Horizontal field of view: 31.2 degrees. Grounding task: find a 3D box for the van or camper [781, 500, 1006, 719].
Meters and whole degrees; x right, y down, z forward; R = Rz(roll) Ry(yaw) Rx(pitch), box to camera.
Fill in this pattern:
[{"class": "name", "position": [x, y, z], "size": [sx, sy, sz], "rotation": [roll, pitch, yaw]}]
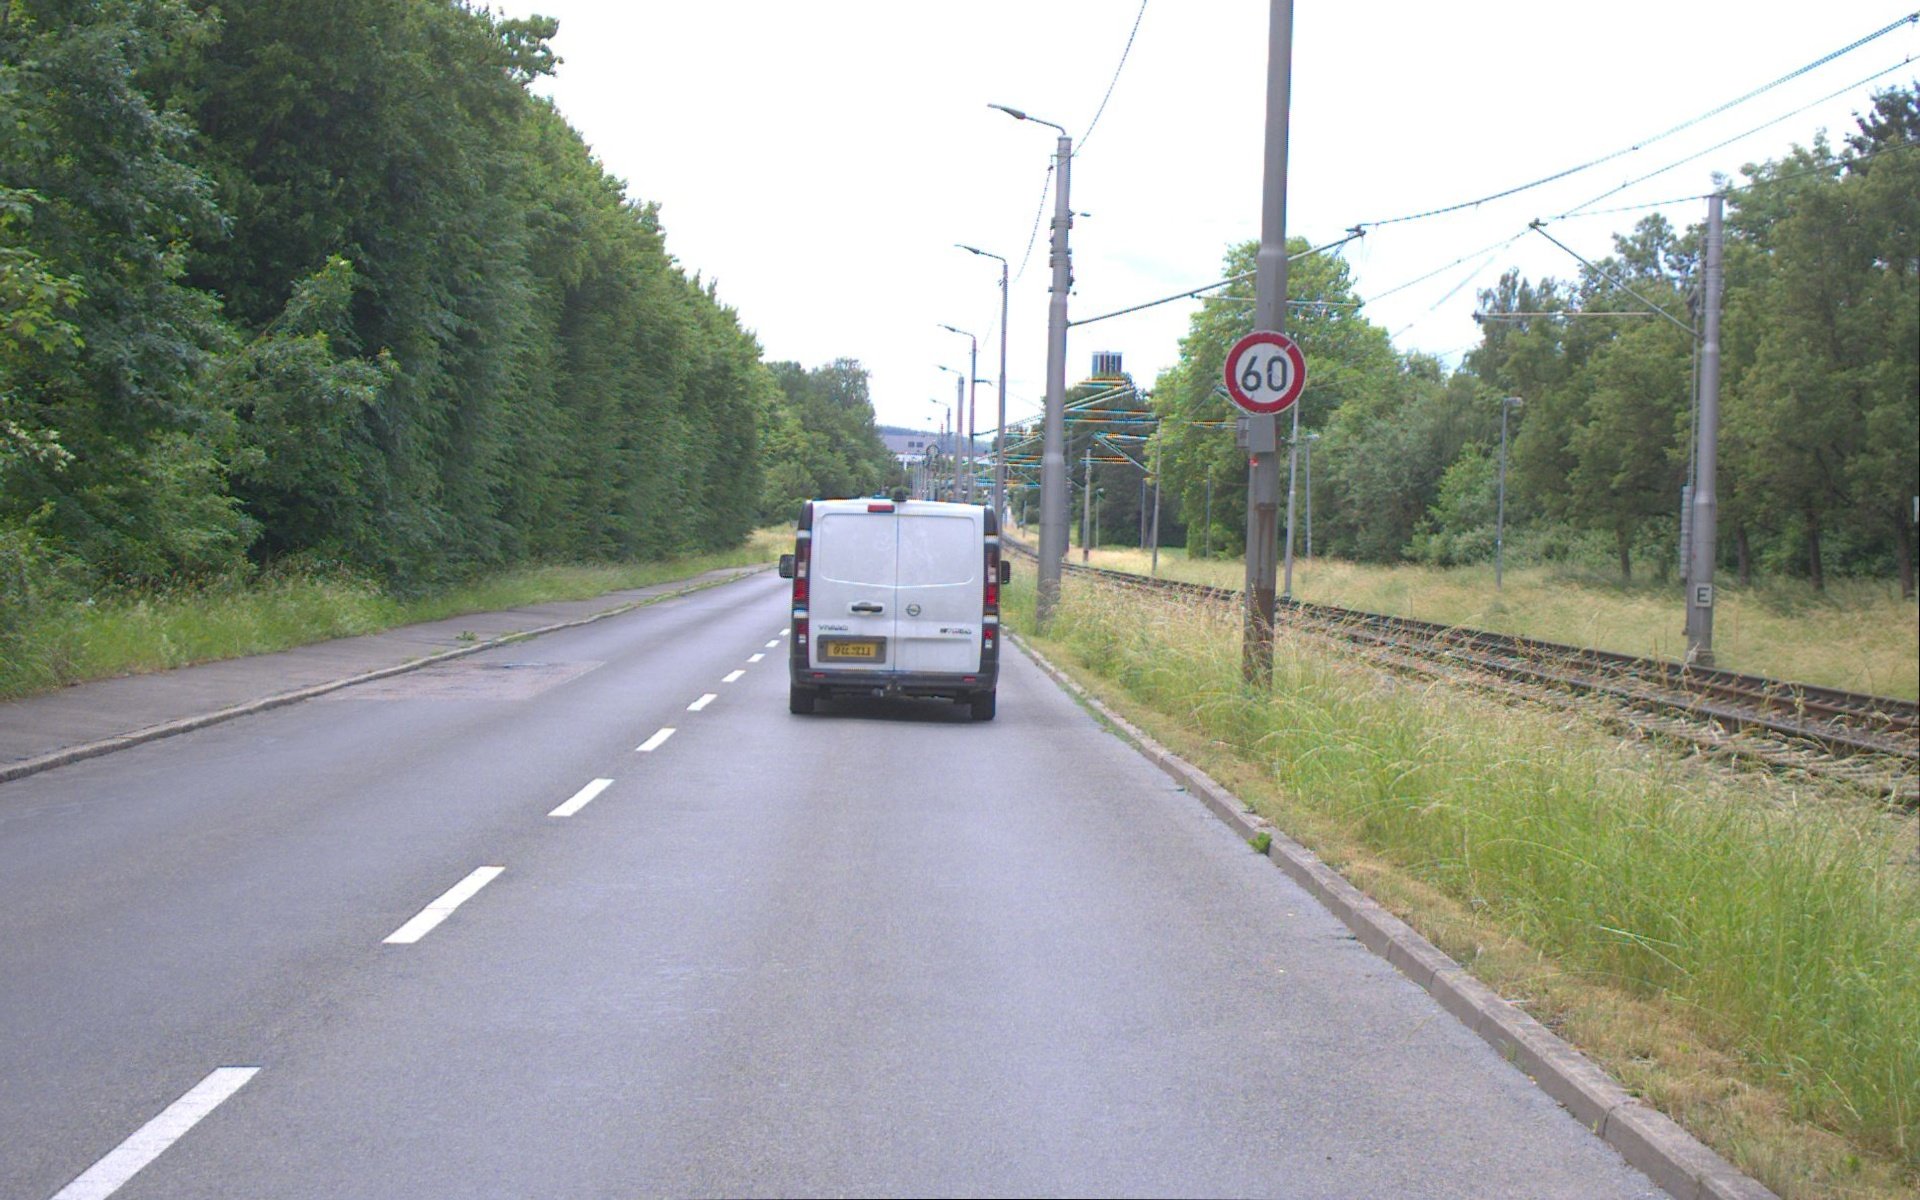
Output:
[{"class": "van or camper", "position": [-0.577, 0.053, 31.928], "size": [1.942, 1.890, 4.285], "rotation": [0, 1, 0]}]
